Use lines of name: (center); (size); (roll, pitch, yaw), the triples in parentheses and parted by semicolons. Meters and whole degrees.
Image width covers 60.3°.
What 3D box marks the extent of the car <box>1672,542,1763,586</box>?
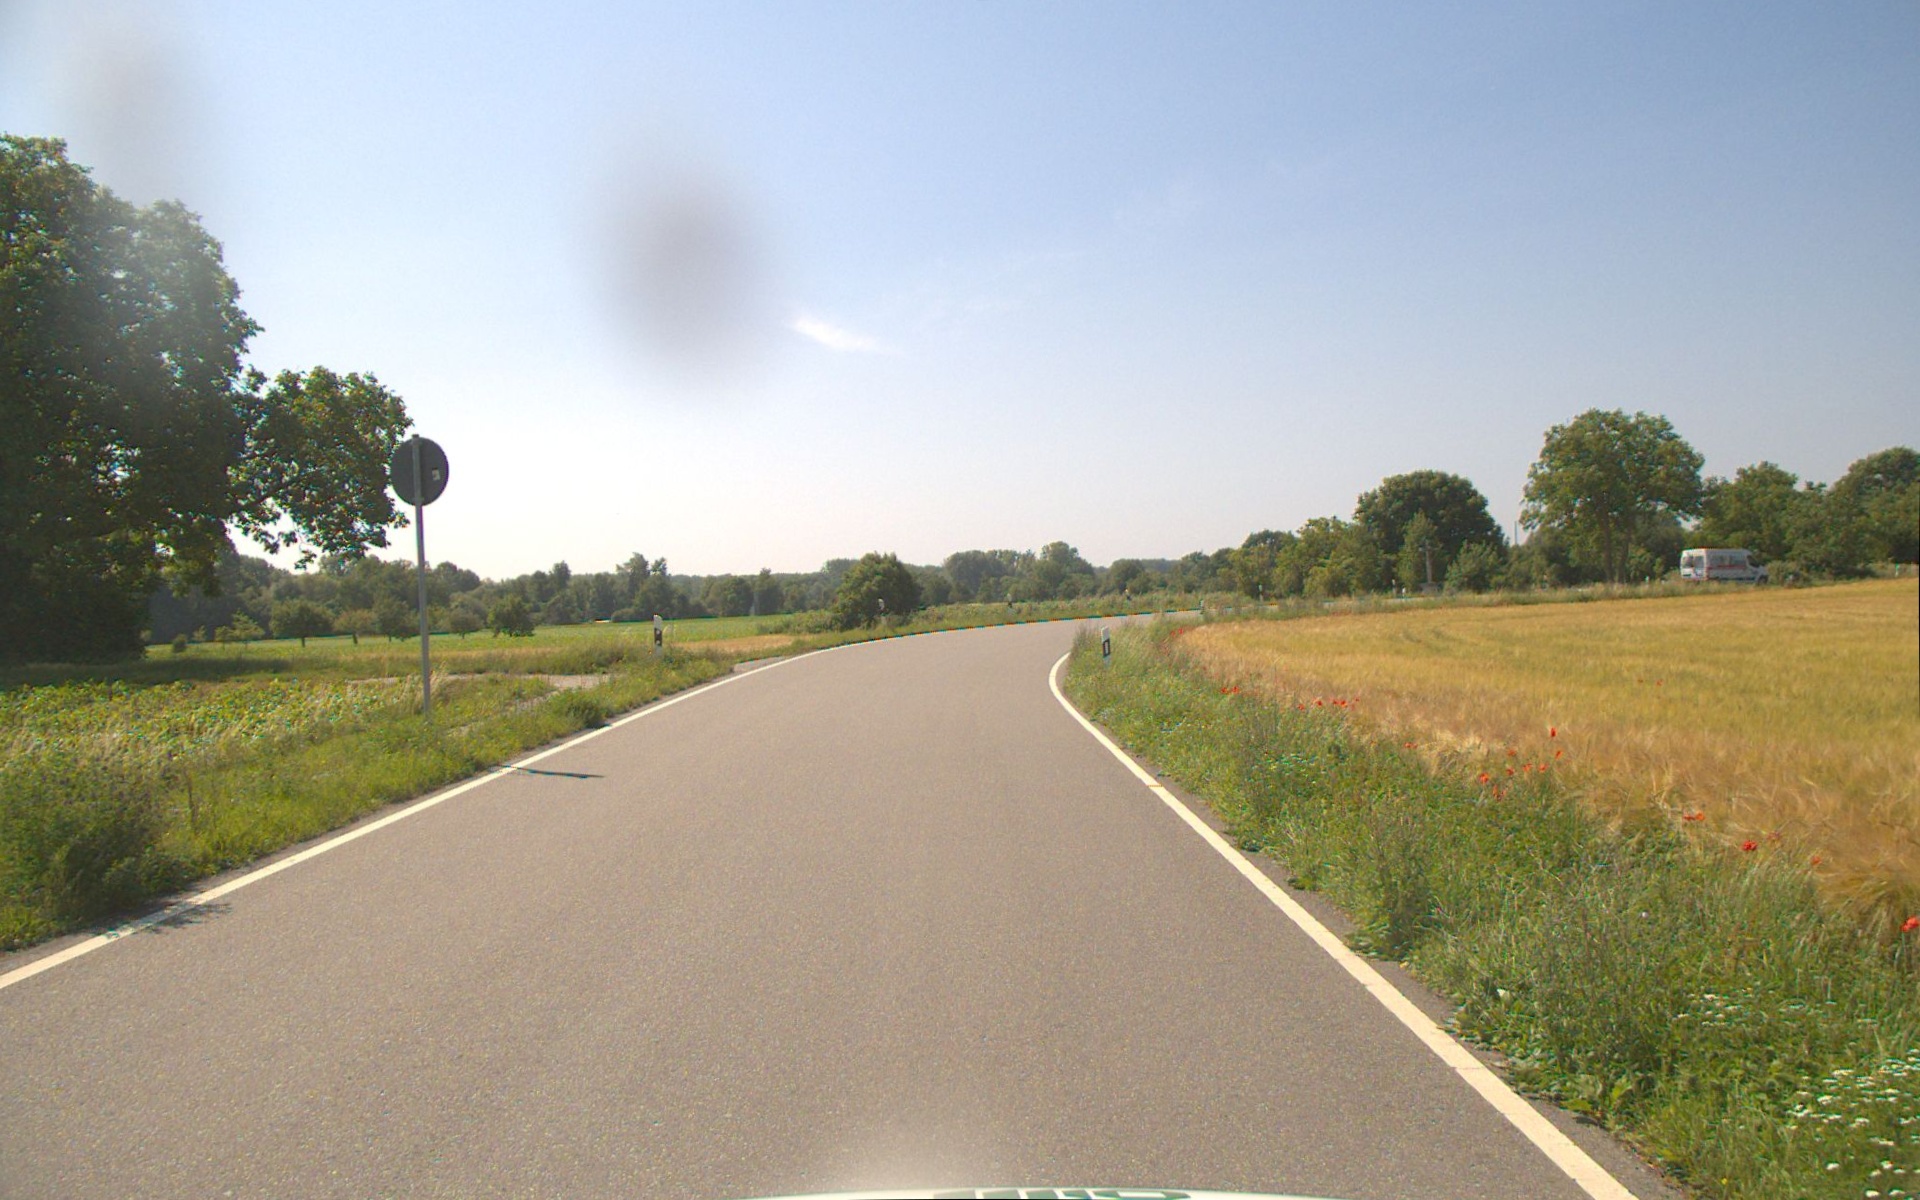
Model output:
car: (46.949, -2.234, 102.471); (5.605, 2.408, 2.091); (-3, 0, -29)
